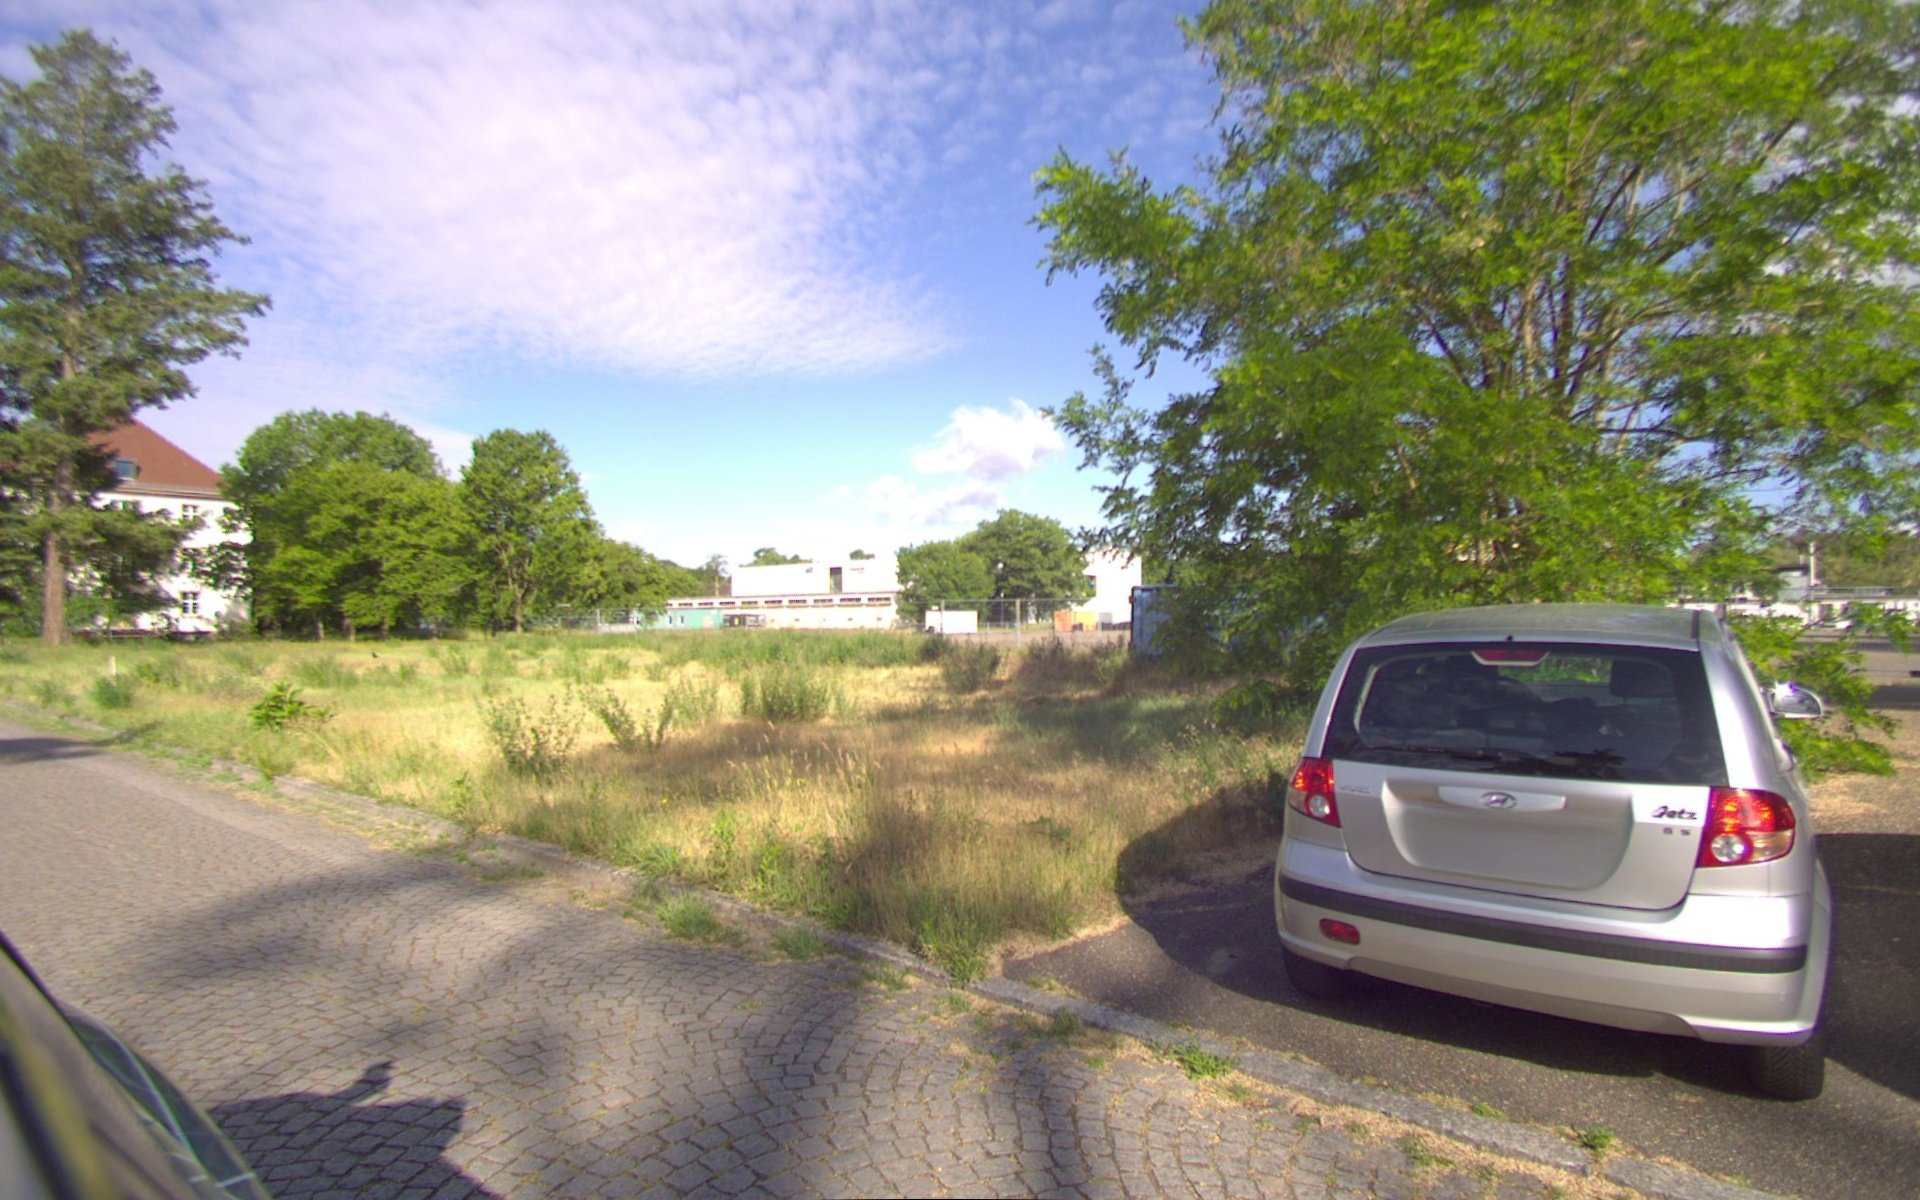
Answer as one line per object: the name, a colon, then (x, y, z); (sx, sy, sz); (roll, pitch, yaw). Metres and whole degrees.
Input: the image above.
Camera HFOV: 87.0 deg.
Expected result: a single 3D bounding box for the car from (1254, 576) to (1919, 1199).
car: (2.704, 0.700, 4.348); (1.634, 1.482, 3.433); (-1, 1, 37)
